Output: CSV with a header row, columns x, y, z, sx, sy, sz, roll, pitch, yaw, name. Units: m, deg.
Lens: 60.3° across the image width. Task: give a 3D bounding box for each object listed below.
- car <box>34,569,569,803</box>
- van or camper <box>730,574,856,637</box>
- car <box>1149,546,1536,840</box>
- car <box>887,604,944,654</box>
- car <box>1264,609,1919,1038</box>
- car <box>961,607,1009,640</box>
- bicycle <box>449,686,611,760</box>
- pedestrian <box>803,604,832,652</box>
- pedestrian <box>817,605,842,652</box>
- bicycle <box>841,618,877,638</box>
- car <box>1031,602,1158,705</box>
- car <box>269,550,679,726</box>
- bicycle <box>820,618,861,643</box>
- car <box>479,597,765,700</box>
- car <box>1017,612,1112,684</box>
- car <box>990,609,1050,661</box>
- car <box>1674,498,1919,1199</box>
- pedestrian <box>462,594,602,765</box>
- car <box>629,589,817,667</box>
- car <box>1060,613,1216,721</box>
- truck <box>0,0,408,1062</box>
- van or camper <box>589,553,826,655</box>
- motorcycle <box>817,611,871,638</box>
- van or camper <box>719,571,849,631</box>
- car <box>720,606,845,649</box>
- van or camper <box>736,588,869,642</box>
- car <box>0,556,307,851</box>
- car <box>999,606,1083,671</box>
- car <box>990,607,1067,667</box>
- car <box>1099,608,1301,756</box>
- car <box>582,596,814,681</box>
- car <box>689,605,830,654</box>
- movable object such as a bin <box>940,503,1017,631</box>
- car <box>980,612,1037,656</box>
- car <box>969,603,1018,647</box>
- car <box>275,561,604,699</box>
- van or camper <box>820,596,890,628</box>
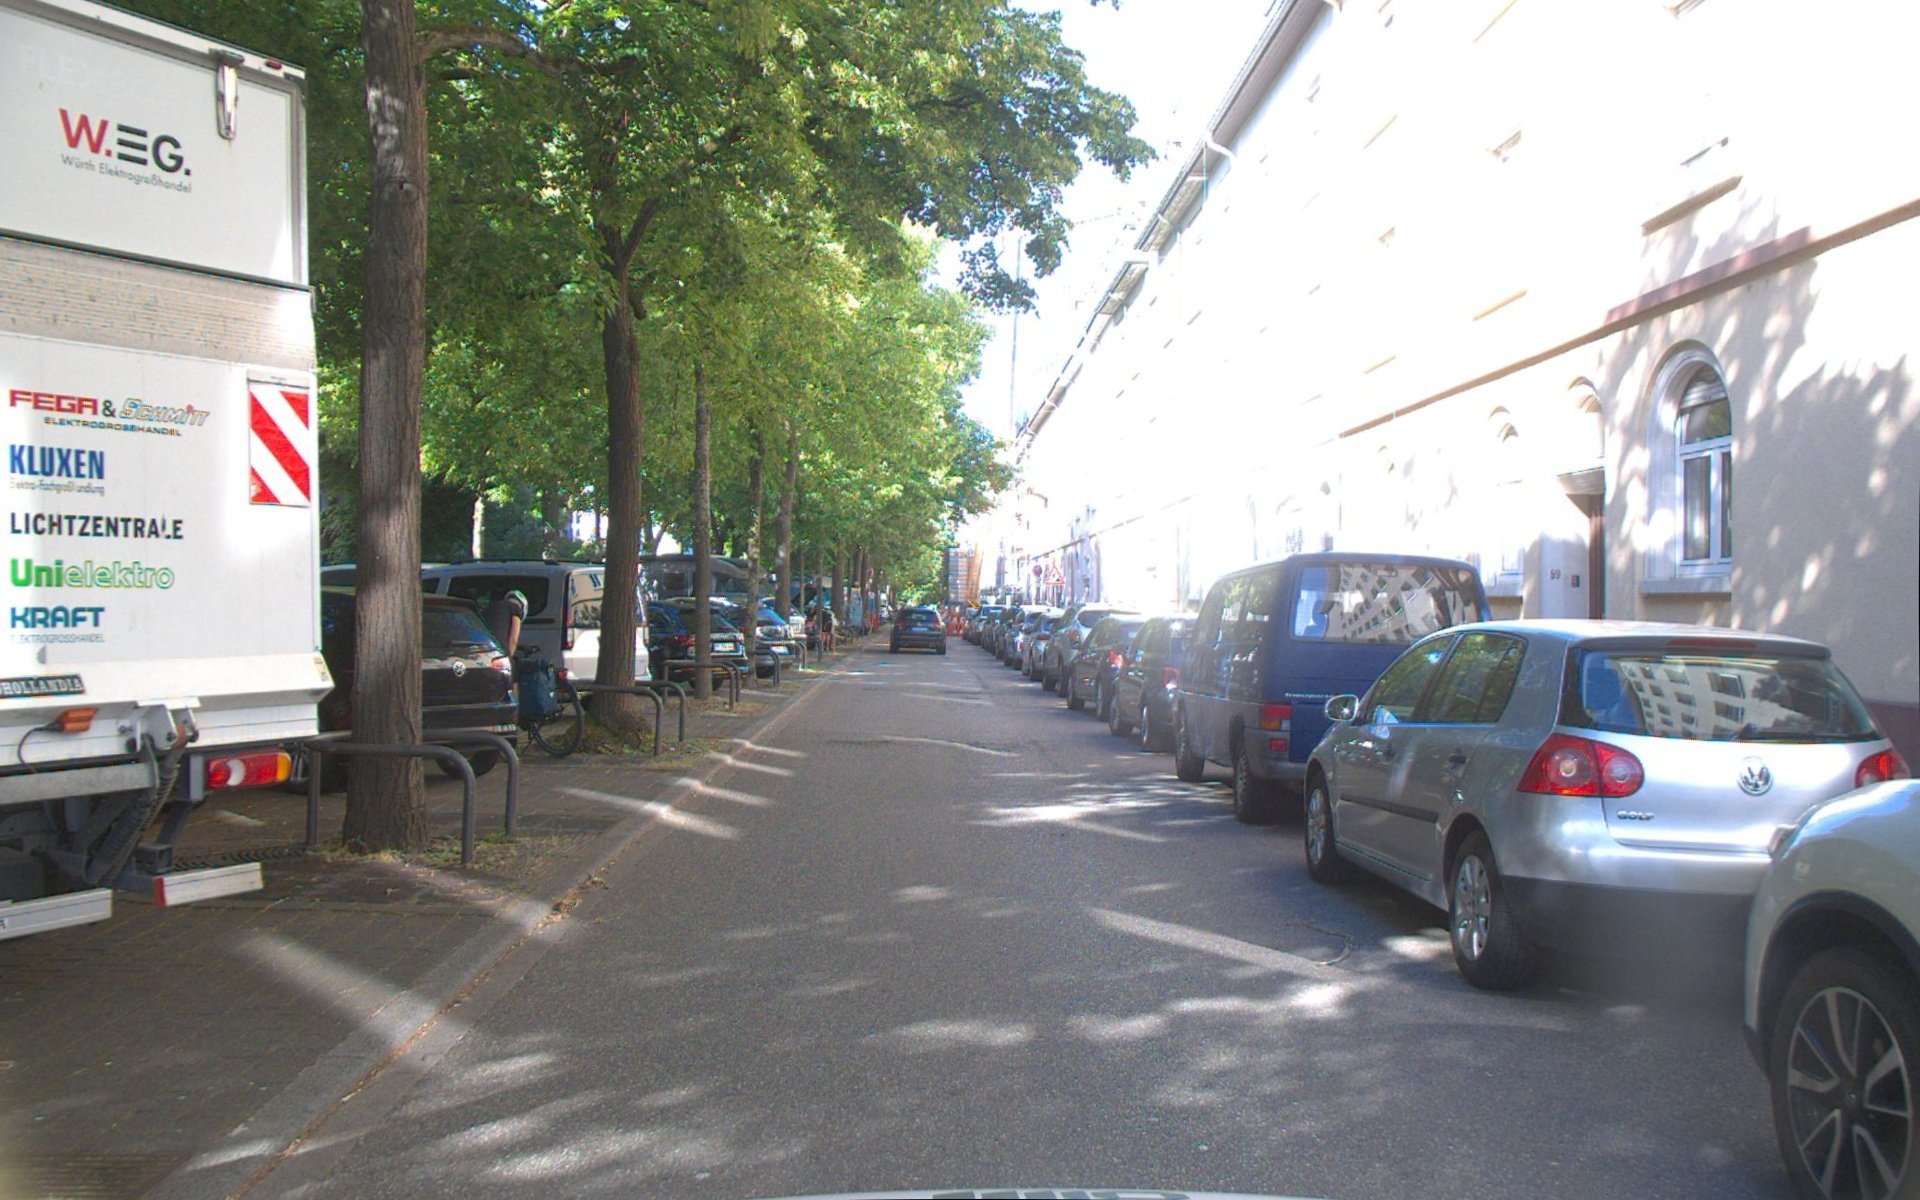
x,y,z,sx,sy,sz,roll,pitch,yaw,name
-5.156,0.573,12.856,4.018,1.533,1.730,1,-1,30,car
-9.111,0.289,90.087,6.527,3.297,2.492,0,0,27,van or camper
2.839,0.634,13.474,1.909,1.934,4.844,1,0,-1,car
-1.461,0.912,53.000,1.761,1.530,3.583,0,0,-3,car
2.822,0.822,8.081,1.726,1.526,4.236,1,0,-2,car
1.141,1.067,77.363,1.954,1.434,4.498,2,0,-3,car
-3.880,1.095,14.885,1.579,0.568,0.409,1,0,30,bicycle
-4.465,0.874,51.871,0.695,1.481,0.596,0,-1,21,pedestrian
-4.126,0.893,52.372,0.602,1.481,0.519,0,-1,21,pedestrian
-5.341,1.458,87.477,1.858,1.024,0.430,1,-1,22,bicycle
2.379,0.919,30.222,1.688,1.715,4.154,1,0,-4,car
-5.852,0.408,19.953,4.418,1.897,2.080,1,-1,24,car
-4.995,1.286,69.170,1.702,1.023,0.506,1,-1,-32,bicycle
-5.395,0.725,26.275,4.392,1.481,1.784,1,-1,30,car
2.249,1.007,36.506,1.688,1.457,4.156,1,0,-2,car
1.880,1.086,52.808,1.598,1.561,3.590,1,0,-3,car
3.066,0.673,2.597,1.727,1.784,4.507,1,0,-3,car
-3.717,0.665,14.403,0.737,1.421,0.927,0,-1,30,pedestrian
-5.521,0.622,38.499,4.053,1.709,1.757,1,0,27,car
2.513,0.913,24.145,1.519,1.418,3.856,1,0,-5,car
-5.773,-0.350,6.785,7.165,3.351,2.542,0,0,30,truck
-7.770,0.102,50.668,7.083,2.981,2.312,0,0,26,van or camper
-5.676,1.212,81.019,2.496,1.281,0.763,1,-1,6,motorcycle
-8.194,0.036,77.010,5.755,2.683,2.252,0,0,28,van or camper
-6.475,0.981,60.199,4.392,1.468,1.728,1,0,31,car
-6.933,0.644,72.795,5.386,2.315,2.220,0,0,22,van or camper
-6.198,0.520,10.387,3.913,1.529,1.845,1,-1,30,car
2.017,0.953,42.299,1.688,1.555,4.155,1,0,-4,car
1.920,1.038,47.567,1.689,1.625,4.154,1,0,-5,car
2.677,0.873,19.188,1.589,1.524,3.592,1,0,-4,car
-5.092,0.723,31.992,4.328,1.487,1.712,1,-1,31,car
-6.433,0.936,53.072,4.230,1.449,1.674,1,0,25,car
1.030,-1.789,91.314,3.414,6.878,2.363,1,-1,31,movable object such as a bin
1.639,1.160,57.215,1.598,1.437,4.086,1,0,-3,car
1.353,1.011,68.061,1.780,1.703,4.671,1,0,-2,car
-7.663,0.422,24.316,4.502,1.864,2.016,0,-1,28,car
-8.378,0.927,131.788,5.234,2.518,2.289,0,0,31,van or camper
